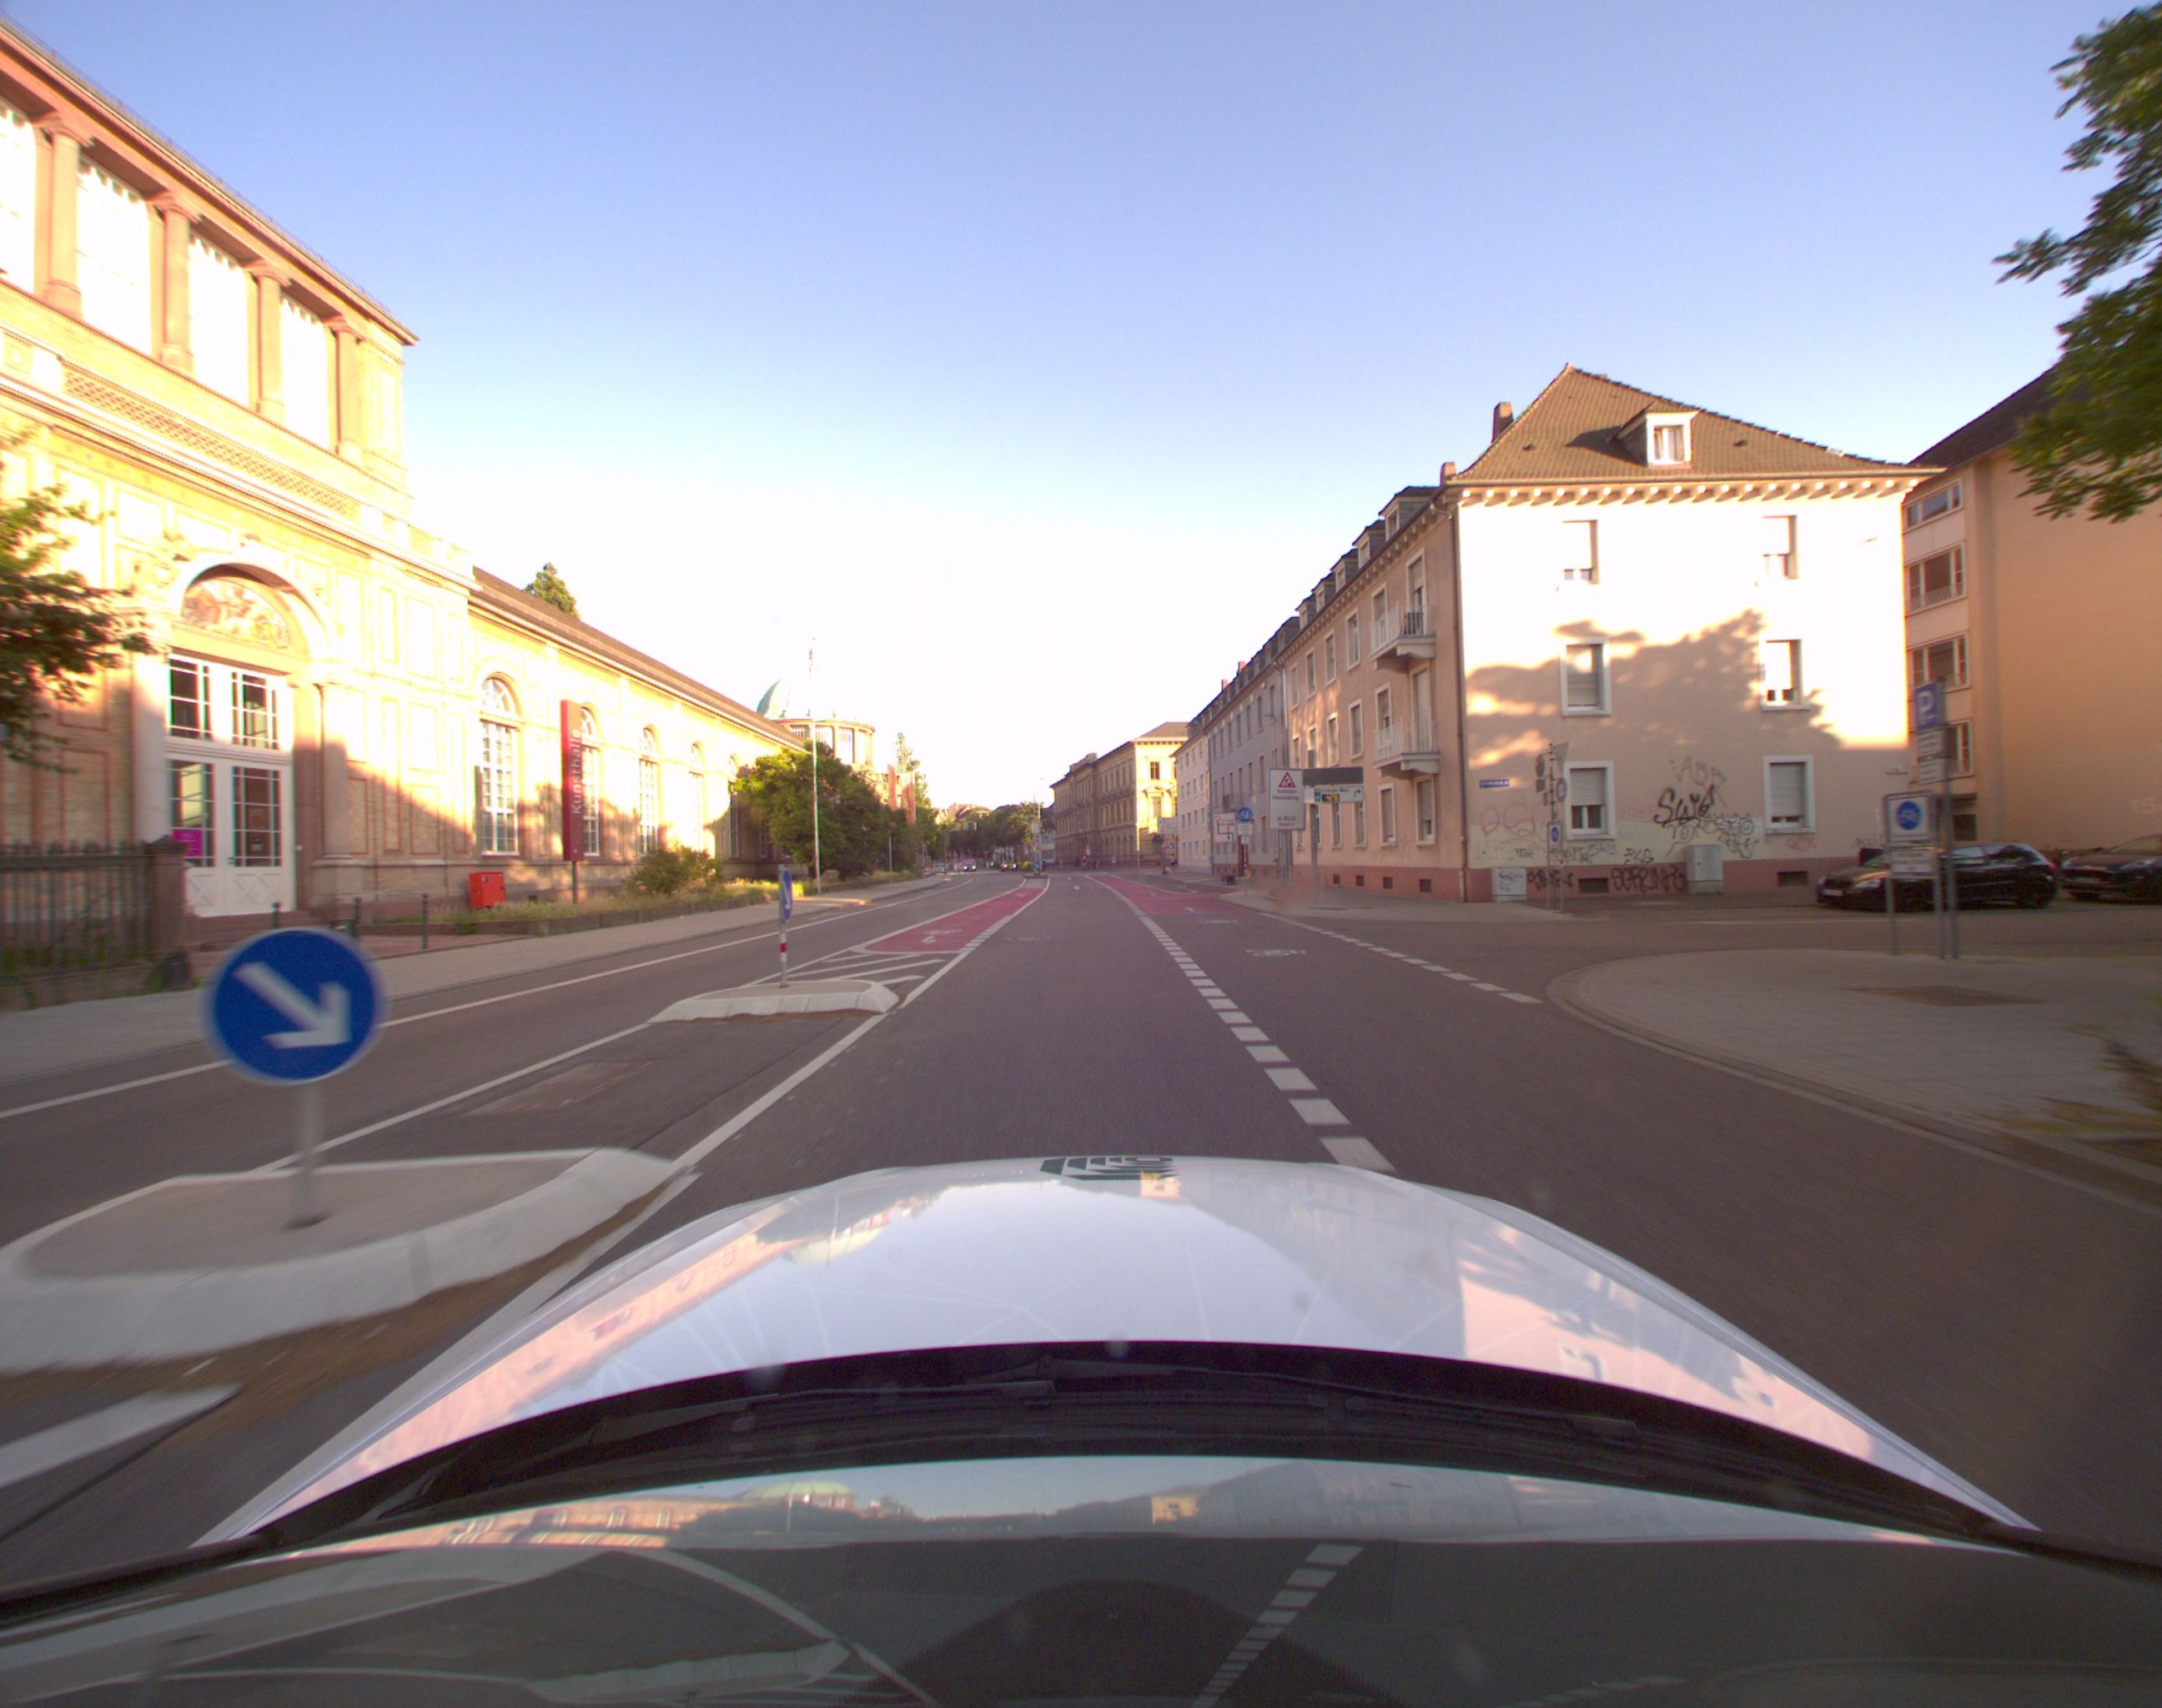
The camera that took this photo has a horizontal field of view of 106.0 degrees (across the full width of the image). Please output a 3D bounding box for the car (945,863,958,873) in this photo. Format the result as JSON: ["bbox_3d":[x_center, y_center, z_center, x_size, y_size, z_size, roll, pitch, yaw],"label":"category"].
[{"bbox_3d":[-22.836,2.483,143.400,1.997,1.585,3.980,-1,0,-15],"label":"car"}]

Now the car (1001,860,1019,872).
[{"bbox_3d":[-9.636,1.614,110.248,1.995,1.585,3.984,-1,0,-11],"label":"car"}]

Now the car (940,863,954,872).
[{"bbox_3d":[-24.309,2.441,147.703,1.997,1.585,3.980,-1,0,-15],"label":"car"}]

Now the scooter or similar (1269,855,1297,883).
[{"bbox_3d":[10.068,0.717,40.755,0.628,1.337,2.397,-1,0,-4],"label":"scooter or similar"}]

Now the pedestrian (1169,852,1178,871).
[{"bbox_3d":[8.633,0.679,75.905,0.758,1.755,0.846,-1,-1,6],"label":"pedestrian"}]

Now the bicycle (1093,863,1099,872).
[{"bbox_3d":[1.773,1.531,95.648,0.649,1.015,2.198,1,0,1],"label":"bicycle"}]

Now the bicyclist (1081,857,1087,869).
[{"bbox_3d":[0.389,1.042,95.518,0.649,1.446,0.879,1,0,1],"label":"bicyclist"}]

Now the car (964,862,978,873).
[{"bbox_3d":[-16.978,2.061,125.703,1.994,1.585,3.985,-1,0,-10],"label":"car"}]

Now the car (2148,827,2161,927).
[{"bbox_3d":[17.995,0.212,11.062,4.221,1.481,1.873,-3,-1,5],"label":"car"}]

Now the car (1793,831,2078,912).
[{"bbox_3d":[19.085,0.387,18.376,4.221,1.481,1.873,-3,-1,5],"label":"car"}]

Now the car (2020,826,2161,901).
[{"bbox_3d":[24.247,0.139,18.116,4.219,1.481,1.874,-3,-1,6],"label":"car"}]

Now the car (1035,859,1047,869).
[{"bbox_3d":[-6.685,1.643,136.241,1.865,1.510,3.991,-1,0,-7],"label":"car"}]

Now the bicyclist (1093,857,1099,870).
[{"bbox_3d":[1.775,1.130,95.654,0.649,1.475,0.941,1,0,1],"label":"bicyclist"}]

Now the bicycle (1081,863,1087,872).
[{"bbox_3d":[0.379,1.553,95.566,0.649,1.015,2.198,1,0,1],"label":"bicycle"}]

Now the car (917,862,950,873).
[{"bbox_3d":[-19.747,1.802,108.996,3.948,1.420,2.013,-1,0,32],"label":"car"}]
